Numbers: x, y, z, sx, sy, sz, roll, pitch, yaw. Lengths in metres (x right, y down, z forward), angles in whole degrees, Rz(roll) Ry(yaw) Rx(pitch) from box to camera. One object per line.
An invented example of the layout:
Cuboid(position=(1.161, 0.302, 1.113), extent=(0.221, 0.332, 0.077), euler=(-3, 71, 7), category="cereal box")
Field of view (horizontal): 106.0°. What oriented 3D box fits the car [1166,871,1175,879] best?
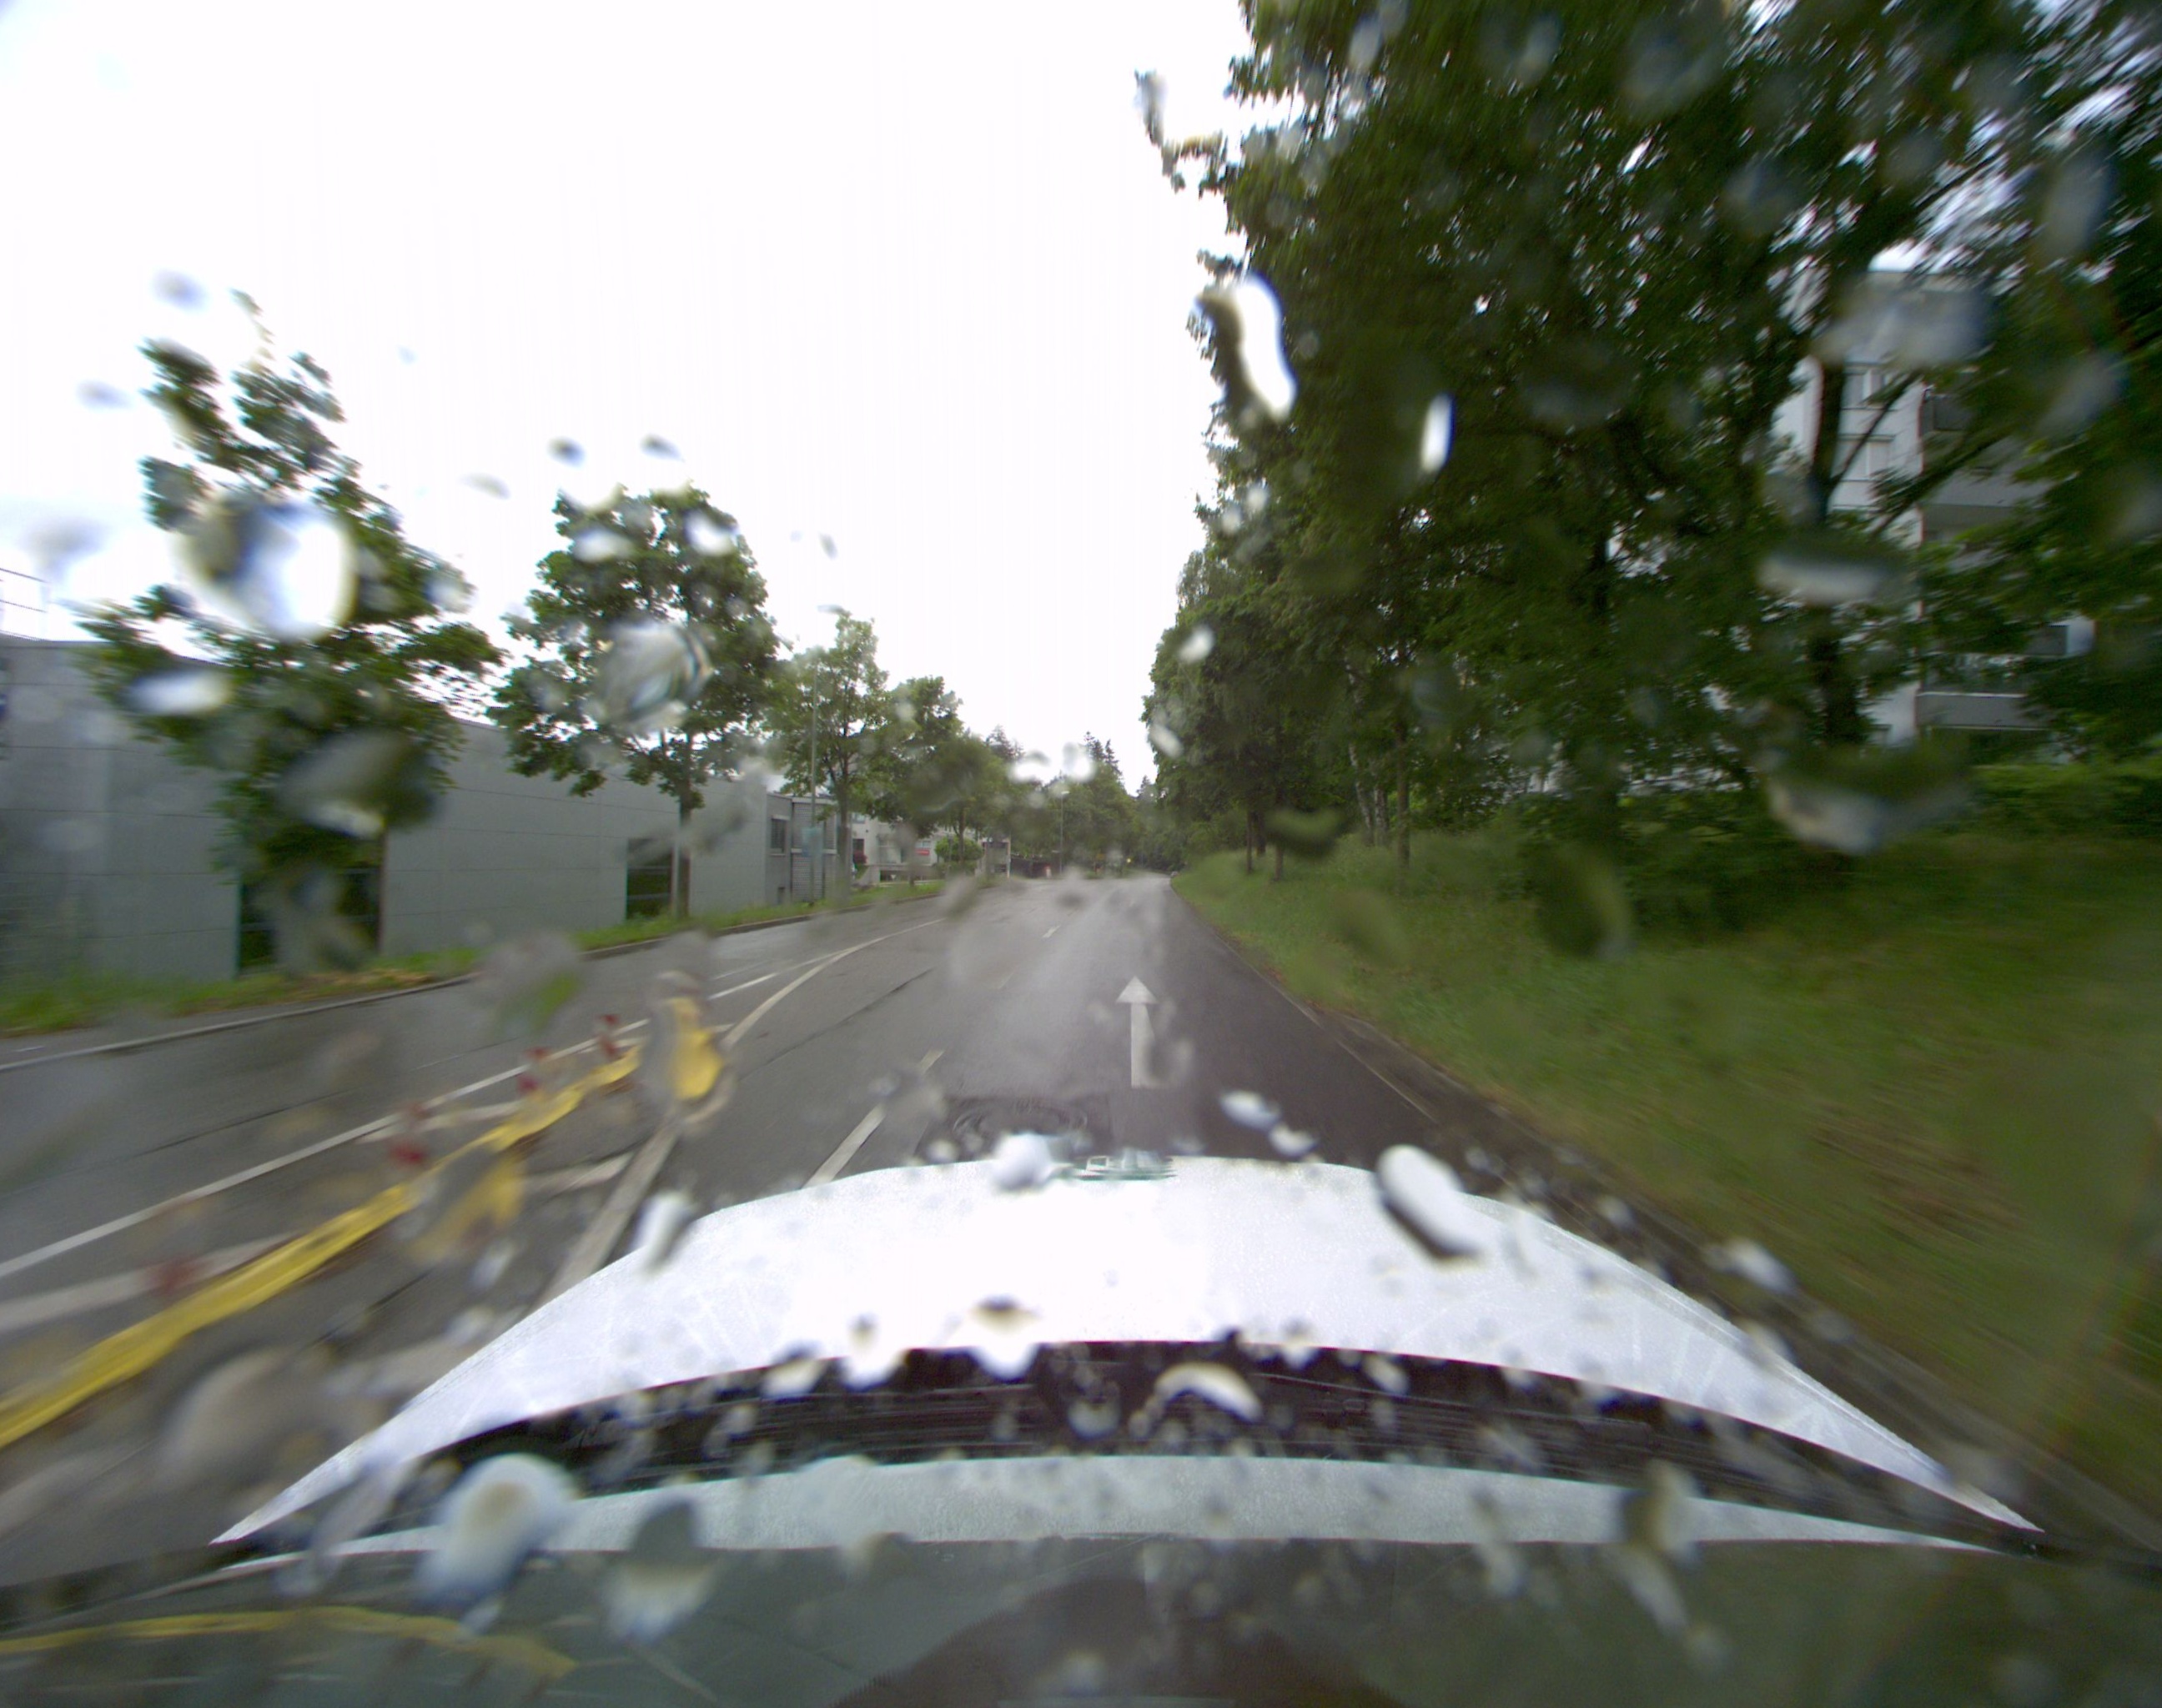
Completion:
Cuboid(position=(18.017, 4.136, 163.386), extent=(1.728, 1.510, 4.006), euler=(-2, -1, 6), category="car")
